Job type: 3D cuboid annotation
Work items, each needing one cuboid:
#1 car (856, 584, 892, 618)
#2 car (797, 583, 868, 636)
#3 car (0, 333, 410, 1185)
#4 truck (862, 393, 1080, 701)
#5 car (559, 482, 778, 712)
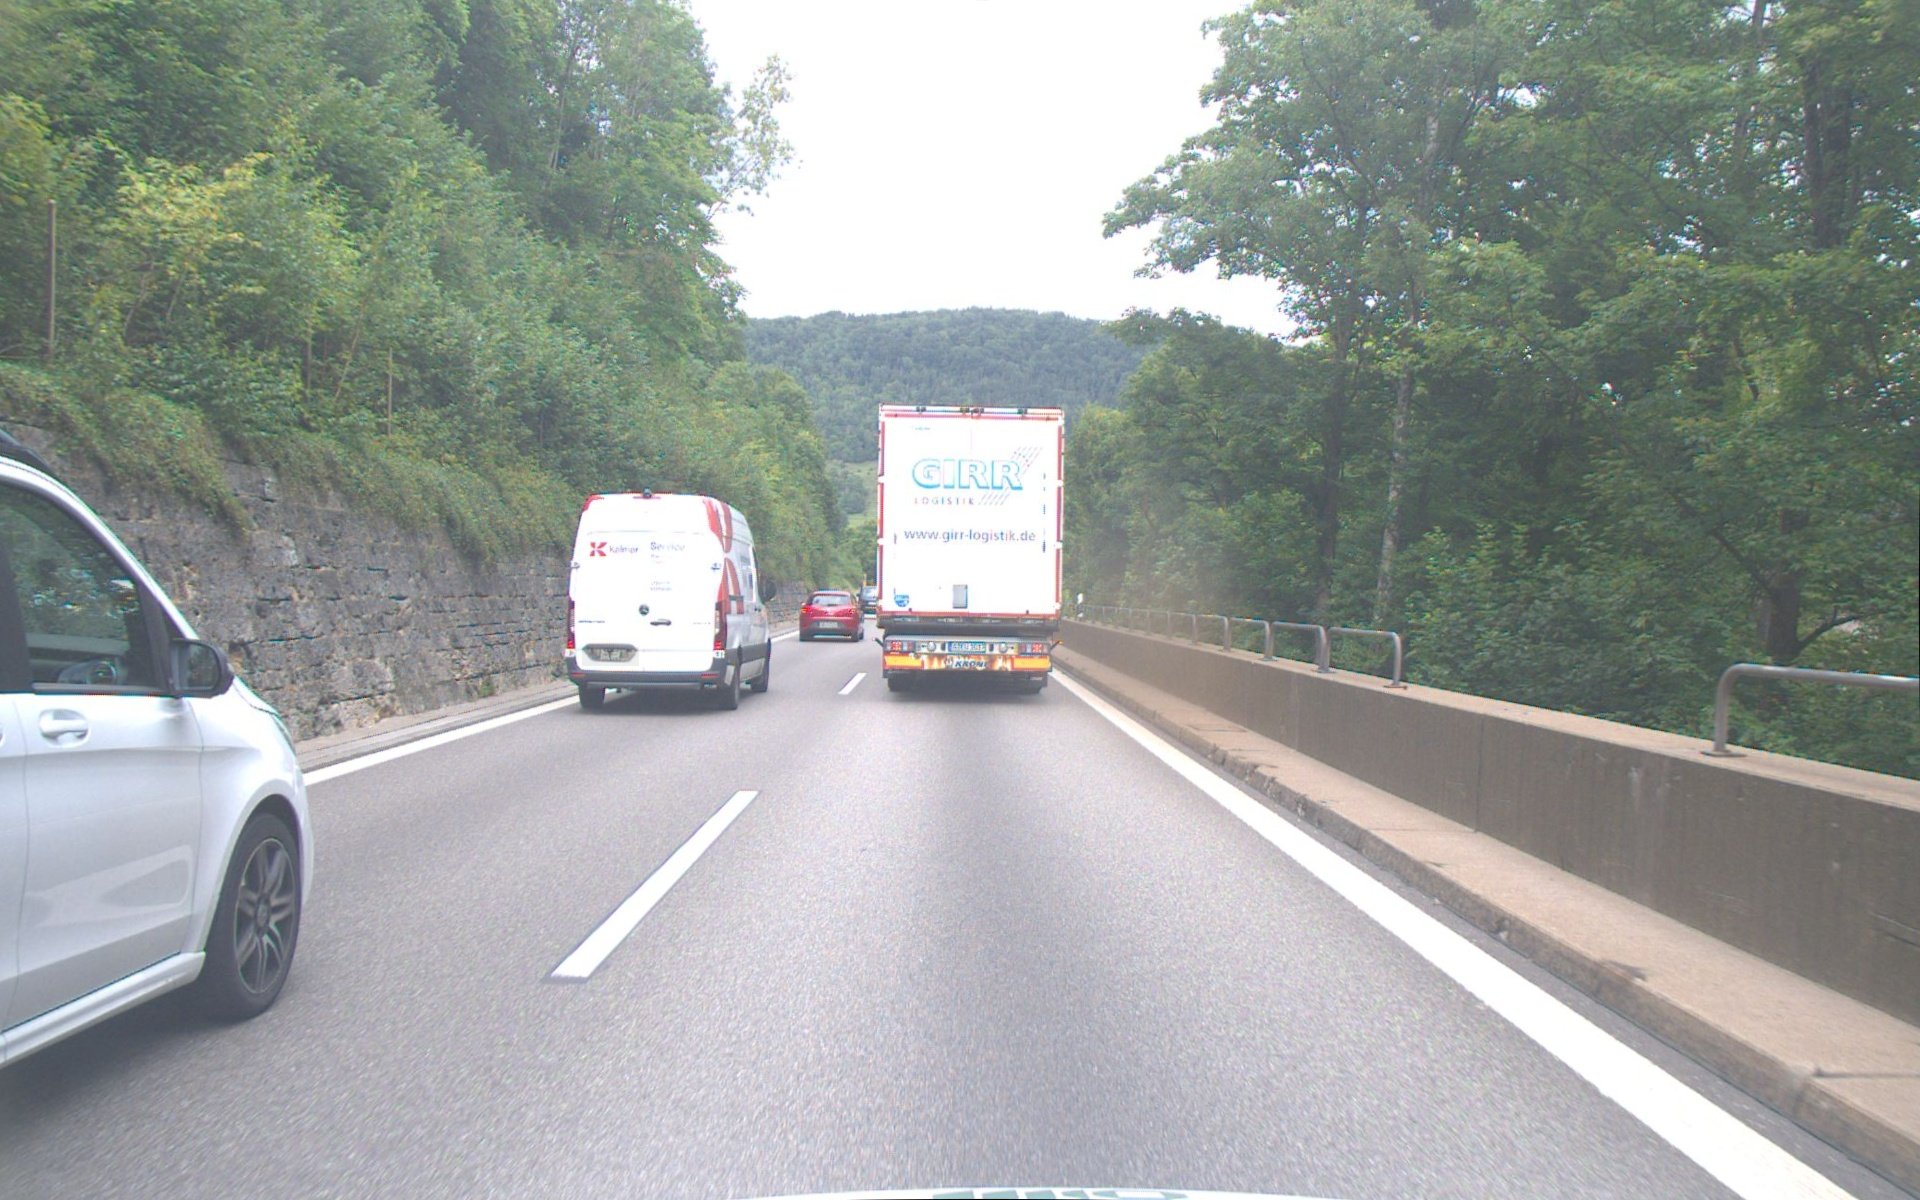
[{"bbox_3d":[-4.332,0.045,83.935,1.635,1.667,4.067,0,0,-1],"label":"car"},{"bbox_3d":[-3.713,0.278,48.658,1.730,1.485,4.411,0,0,0],"label":"car"},{"bbox_3d":[-3.203,0.358,3.663,1.953,1.987,6.147,1,0,-1],"label":"car"},{"bbox_3d":[0.162,-0.706,26.321,2.849,4.030,9.278,0,0,0],"label":"truck"},{"bbox_3d":[-3.690,-0.027,22.136,1.985,2.630,6.272,0,0,-2],"label":"car"}]
